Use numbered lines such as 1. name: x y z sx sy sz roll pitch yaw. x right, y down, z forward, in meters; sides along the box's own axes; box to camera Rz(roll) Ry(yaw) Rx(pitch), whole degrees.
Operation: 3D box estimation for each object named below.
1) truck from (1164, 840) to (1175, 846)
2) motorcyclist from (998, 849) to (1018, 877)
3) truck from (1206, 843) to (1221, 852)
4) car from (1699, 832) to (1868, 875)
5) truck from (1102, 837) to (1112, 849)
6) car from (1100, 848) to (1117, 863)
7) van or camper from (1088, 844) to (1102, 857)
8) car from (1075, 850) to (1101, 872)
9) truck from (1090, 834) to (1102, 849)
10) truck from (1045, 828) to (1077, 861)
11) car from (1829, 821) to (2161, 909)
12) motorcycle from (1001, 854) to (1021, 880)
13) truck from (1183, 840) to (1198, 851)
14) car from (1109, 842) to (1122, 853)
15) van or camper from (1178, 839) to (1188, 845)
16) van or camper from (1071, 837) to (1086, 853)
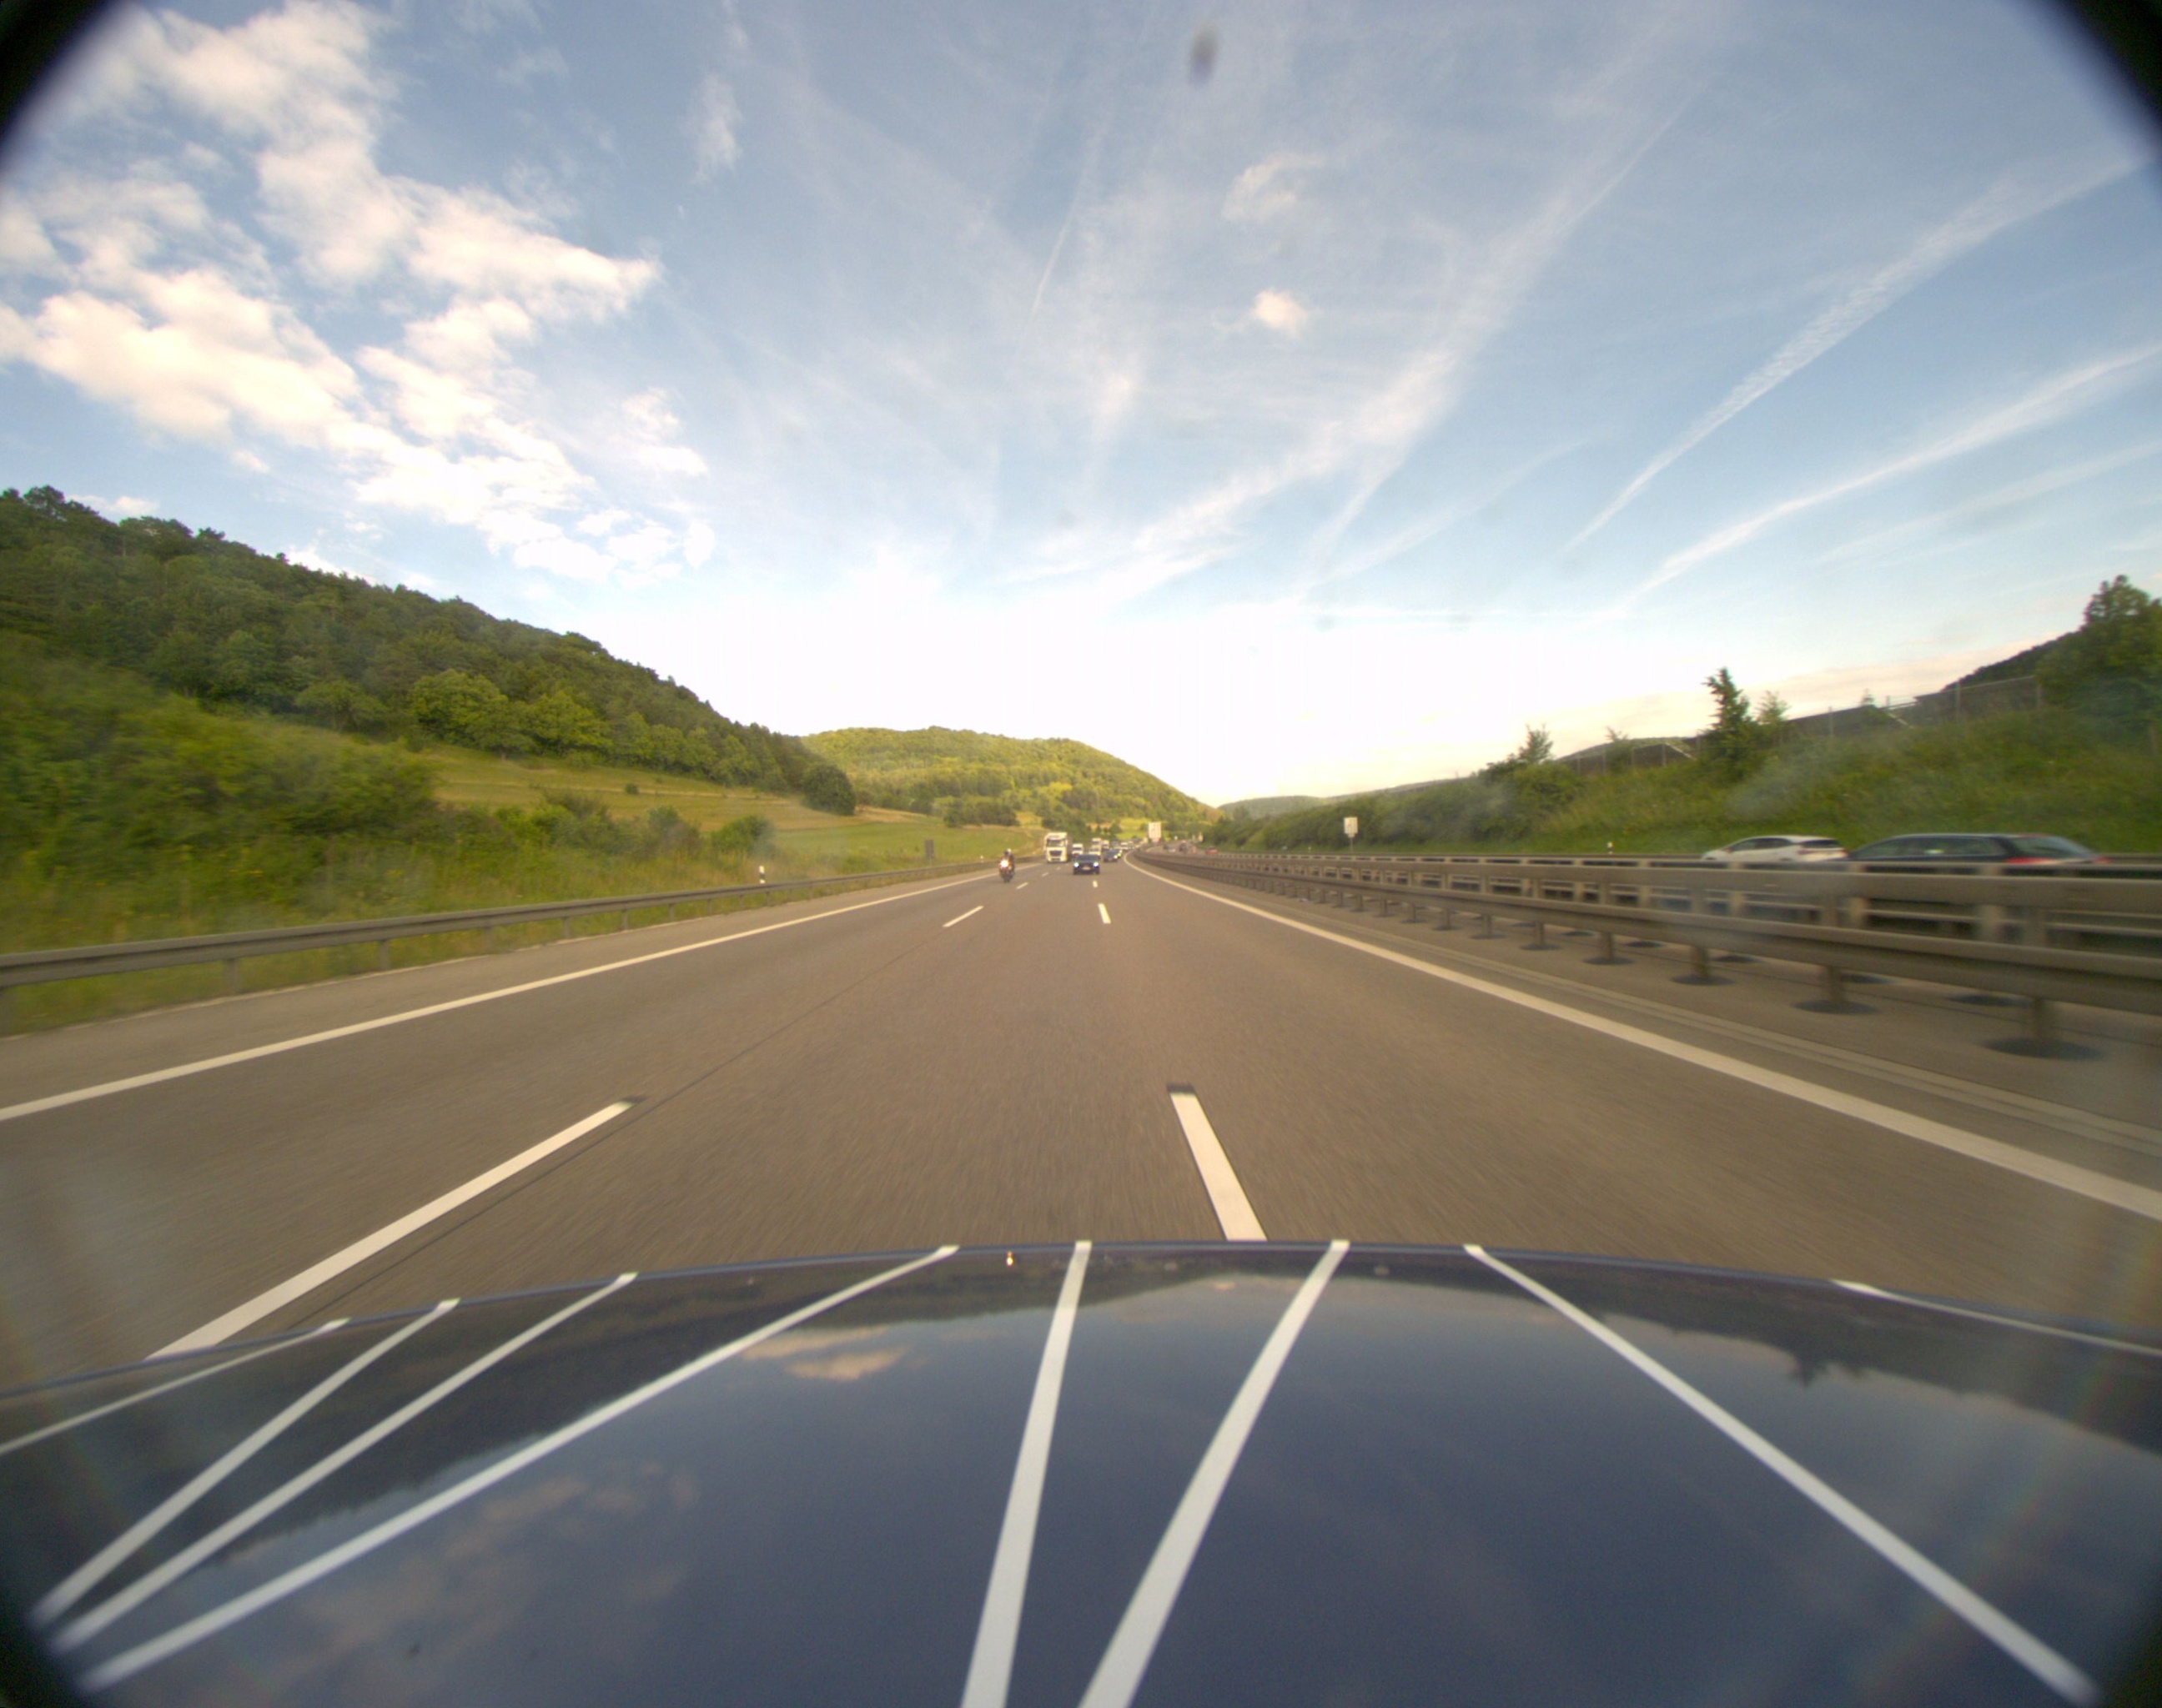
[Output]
1. truck: 18.068 -2.174 154.700 1.998 1.215 4.001 0 1 4
2. motorcyclist: -3.941 0.481 41.258 0.878 1.506 0.797 -2 2 4
3. truck: 22.188 -1.091 127.321 1.998 1.346 3.946 0 1 1
4. car: 25.093 -0.026 27.400 1.764 1.350 4.380 -2 1 -7
5. truck: 8.358 -3.643 244.543 2.707 3.628 9.035 -1 2 6
6. car: 3.568 0.173 97.635 1.998 1.871 4.000 0 1 3
7. van or camper: 2.184 -0.505 119.712 1.998 1.881 4.487 -1 1 4
8. car: 0.489 0.459 52.466 1.580 1.311 4.000 -1 1 3
9. truck: 4.318 -3.487 209.781 2.925 3.876 13.008 -1 1 2
10. truck: -2.532 -1.416 103.437 2.971 3.970 17.730 -1 1 3
11. car: 17.888 0.174 15.221 1.998 1.477 4.001 -2 1 3
12. motorcycle: -3.830 0.682 41.630 0.628 1.331 1.740 -1 2 9
13. truck: 16.228 -1.247 113.140 1.998 1.585 4.848 0 1 5
14. car: 5.763 -1.114 126.688 1.998 1.871 4.000 0 1 3
15. van or camper: 26.253 -3.044 196.182 1.998 1.650 5.453 0 1 1
16. van or camper: -0.467 -1.683 139.837 1.998 2.702 7.524 -1 1 6
